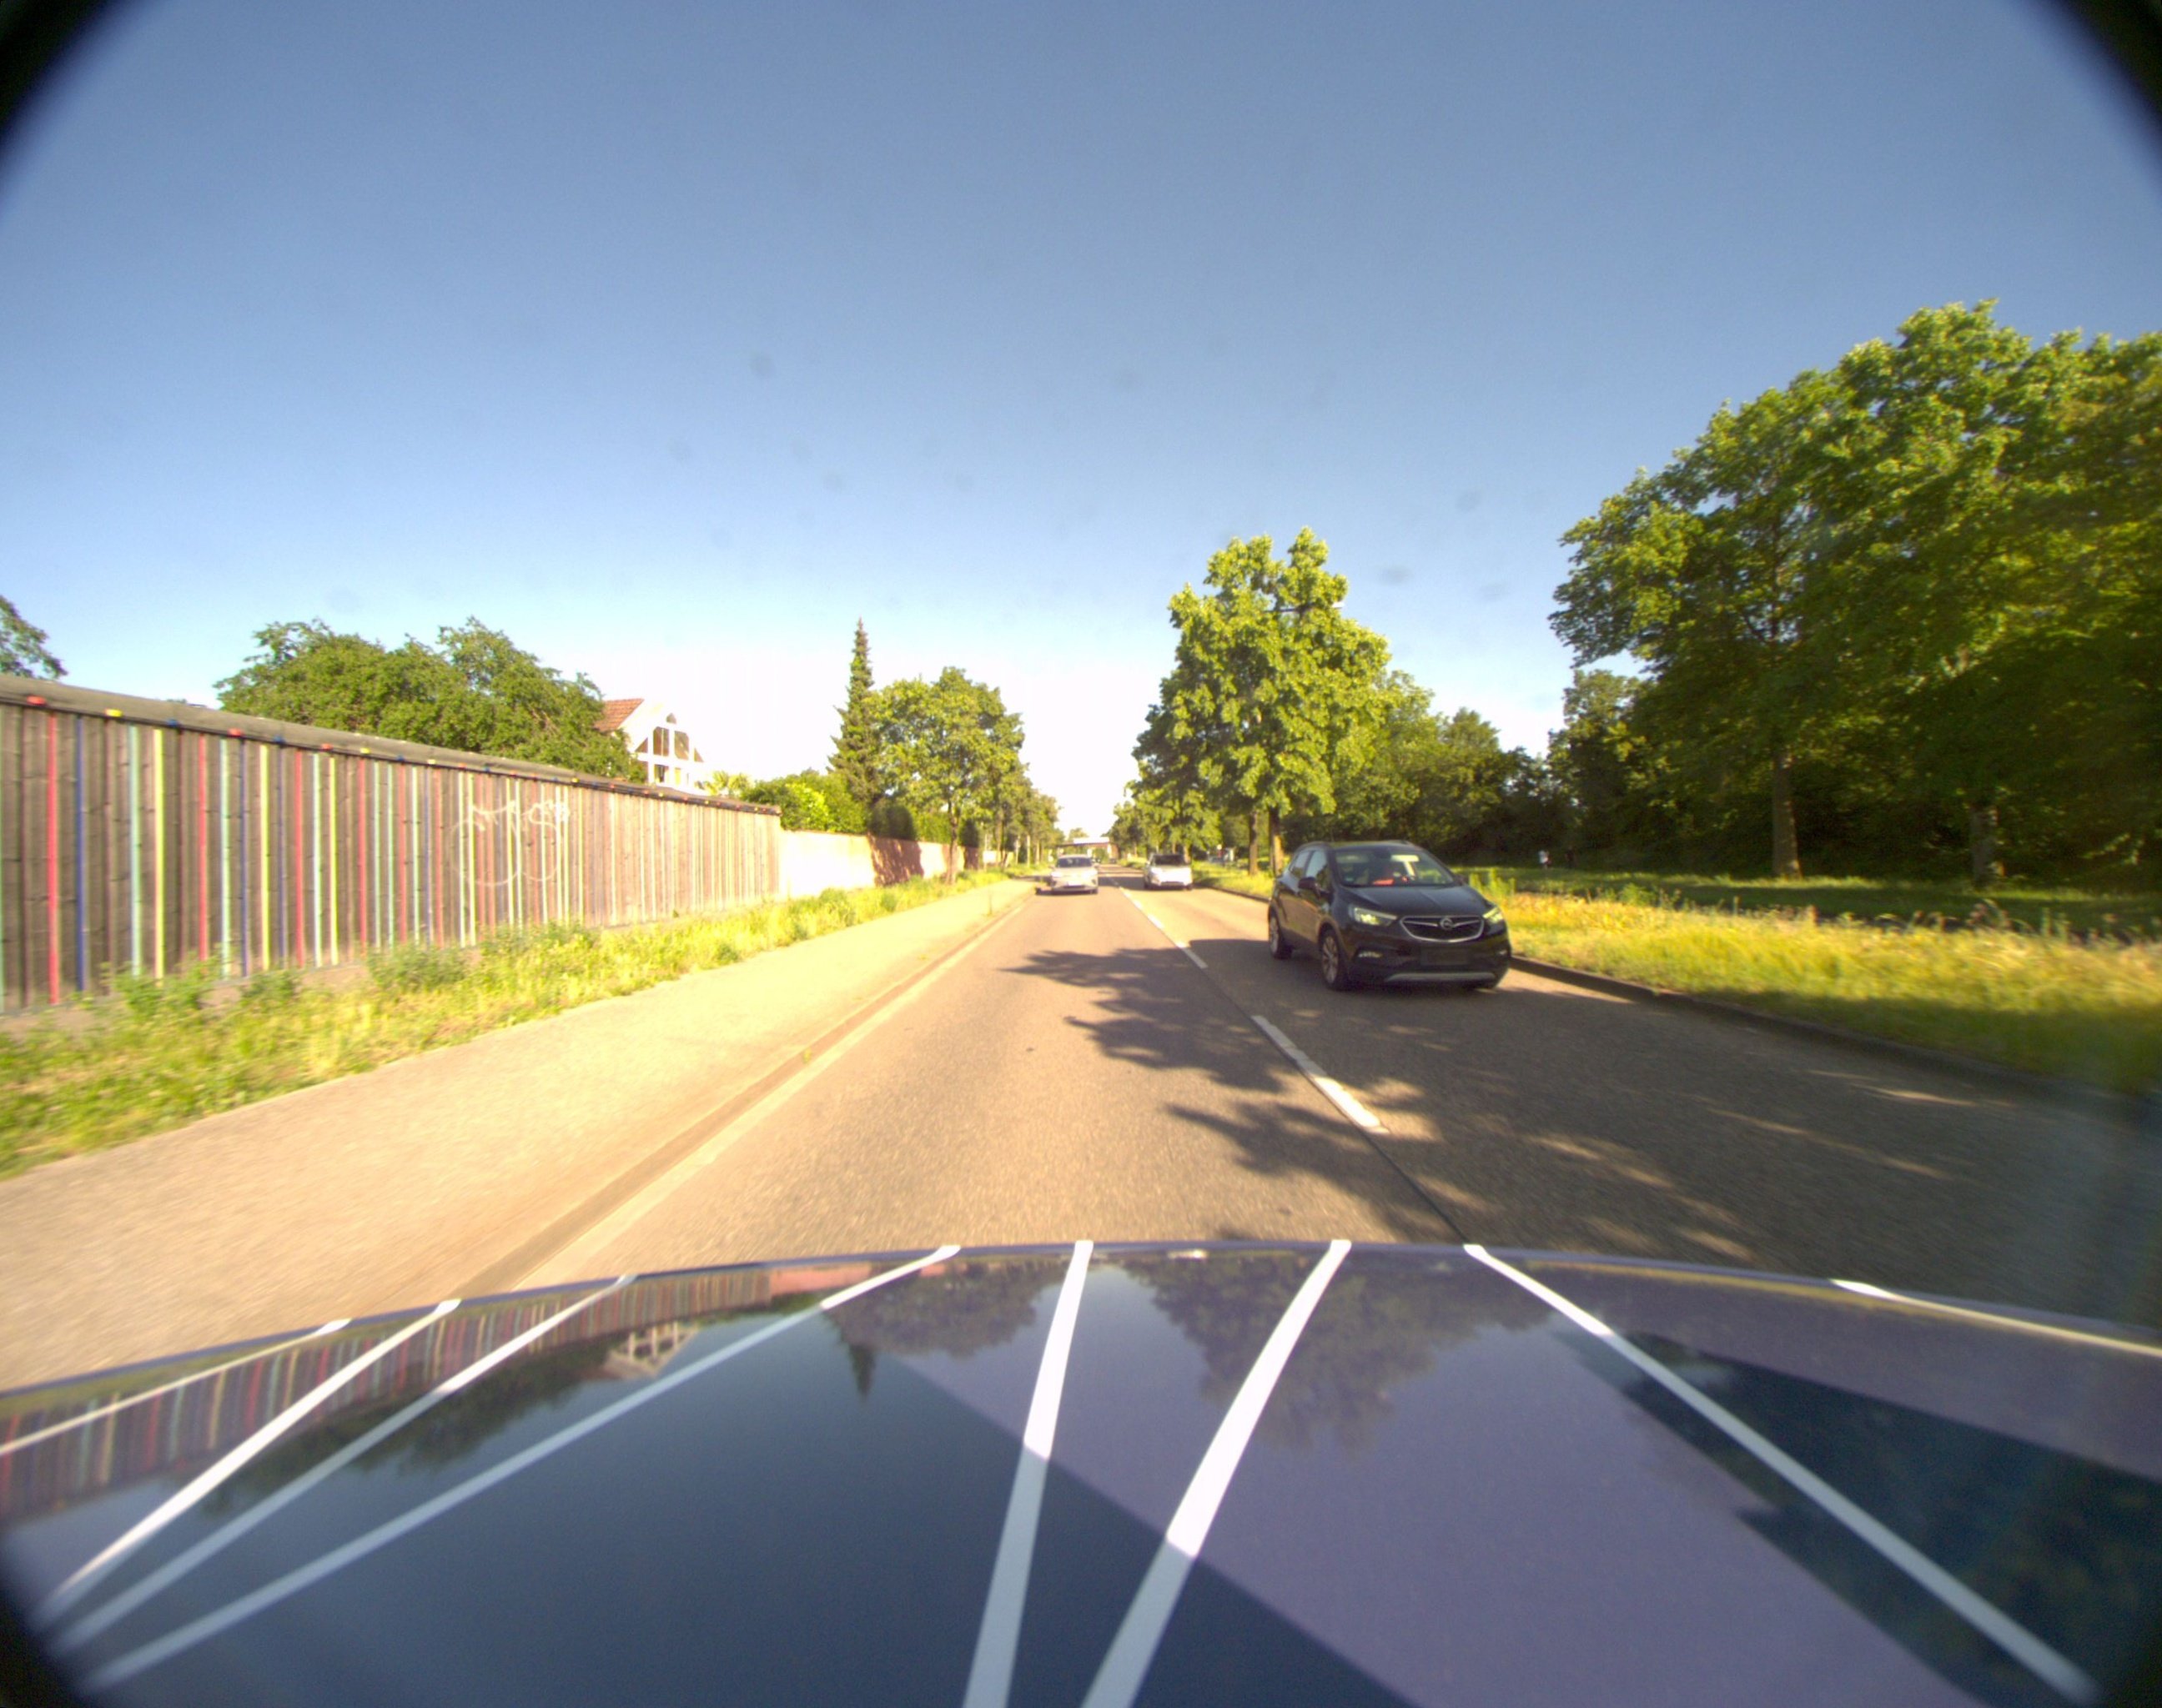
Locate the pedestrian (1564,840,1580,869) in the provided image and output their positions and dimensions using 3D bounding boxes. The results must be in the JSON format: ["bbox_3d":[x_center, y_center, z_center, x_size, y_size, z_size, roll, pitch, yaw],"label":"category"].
[{"bbox_3d":[28.732,0.021,44.442,0.561,1.650,0.540,-3,1,3],"label":"pedestrian"}]

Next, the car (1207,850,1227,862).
[{"bbox_3d":[16.860,0.269,94.519,1.730,1.448,4.346,1,0,1],"label":"car"}]

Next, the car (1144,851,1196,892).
[{"bbox_3d":[3.759,0.699,32.616,1.789,1.600,4.106,-1,1,1],"label":"car"}]

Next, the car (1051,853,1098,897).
[{"bbox_3d":[-0.223,0.794,31.230,1.766,1.606,4.296,-2,1,1],"label":"car"}]

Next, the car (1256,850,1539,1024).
[{"bbox_3d":[3.481,0.773,9.357,1.700,1.622,4.417,0,1,1],"label":"car"}]

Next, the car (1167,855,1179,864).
[{"bbox_3d":[16.863,0.968,139.021,1.733,1.569,3.747,1,0,1],"label":"car"}]

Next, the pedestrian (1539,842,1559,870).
[{"bbox_3d":[27.421,0.111,44.532,0.683,1.650,0.679,-3,2,-4],"label":"pedestrian"}]
